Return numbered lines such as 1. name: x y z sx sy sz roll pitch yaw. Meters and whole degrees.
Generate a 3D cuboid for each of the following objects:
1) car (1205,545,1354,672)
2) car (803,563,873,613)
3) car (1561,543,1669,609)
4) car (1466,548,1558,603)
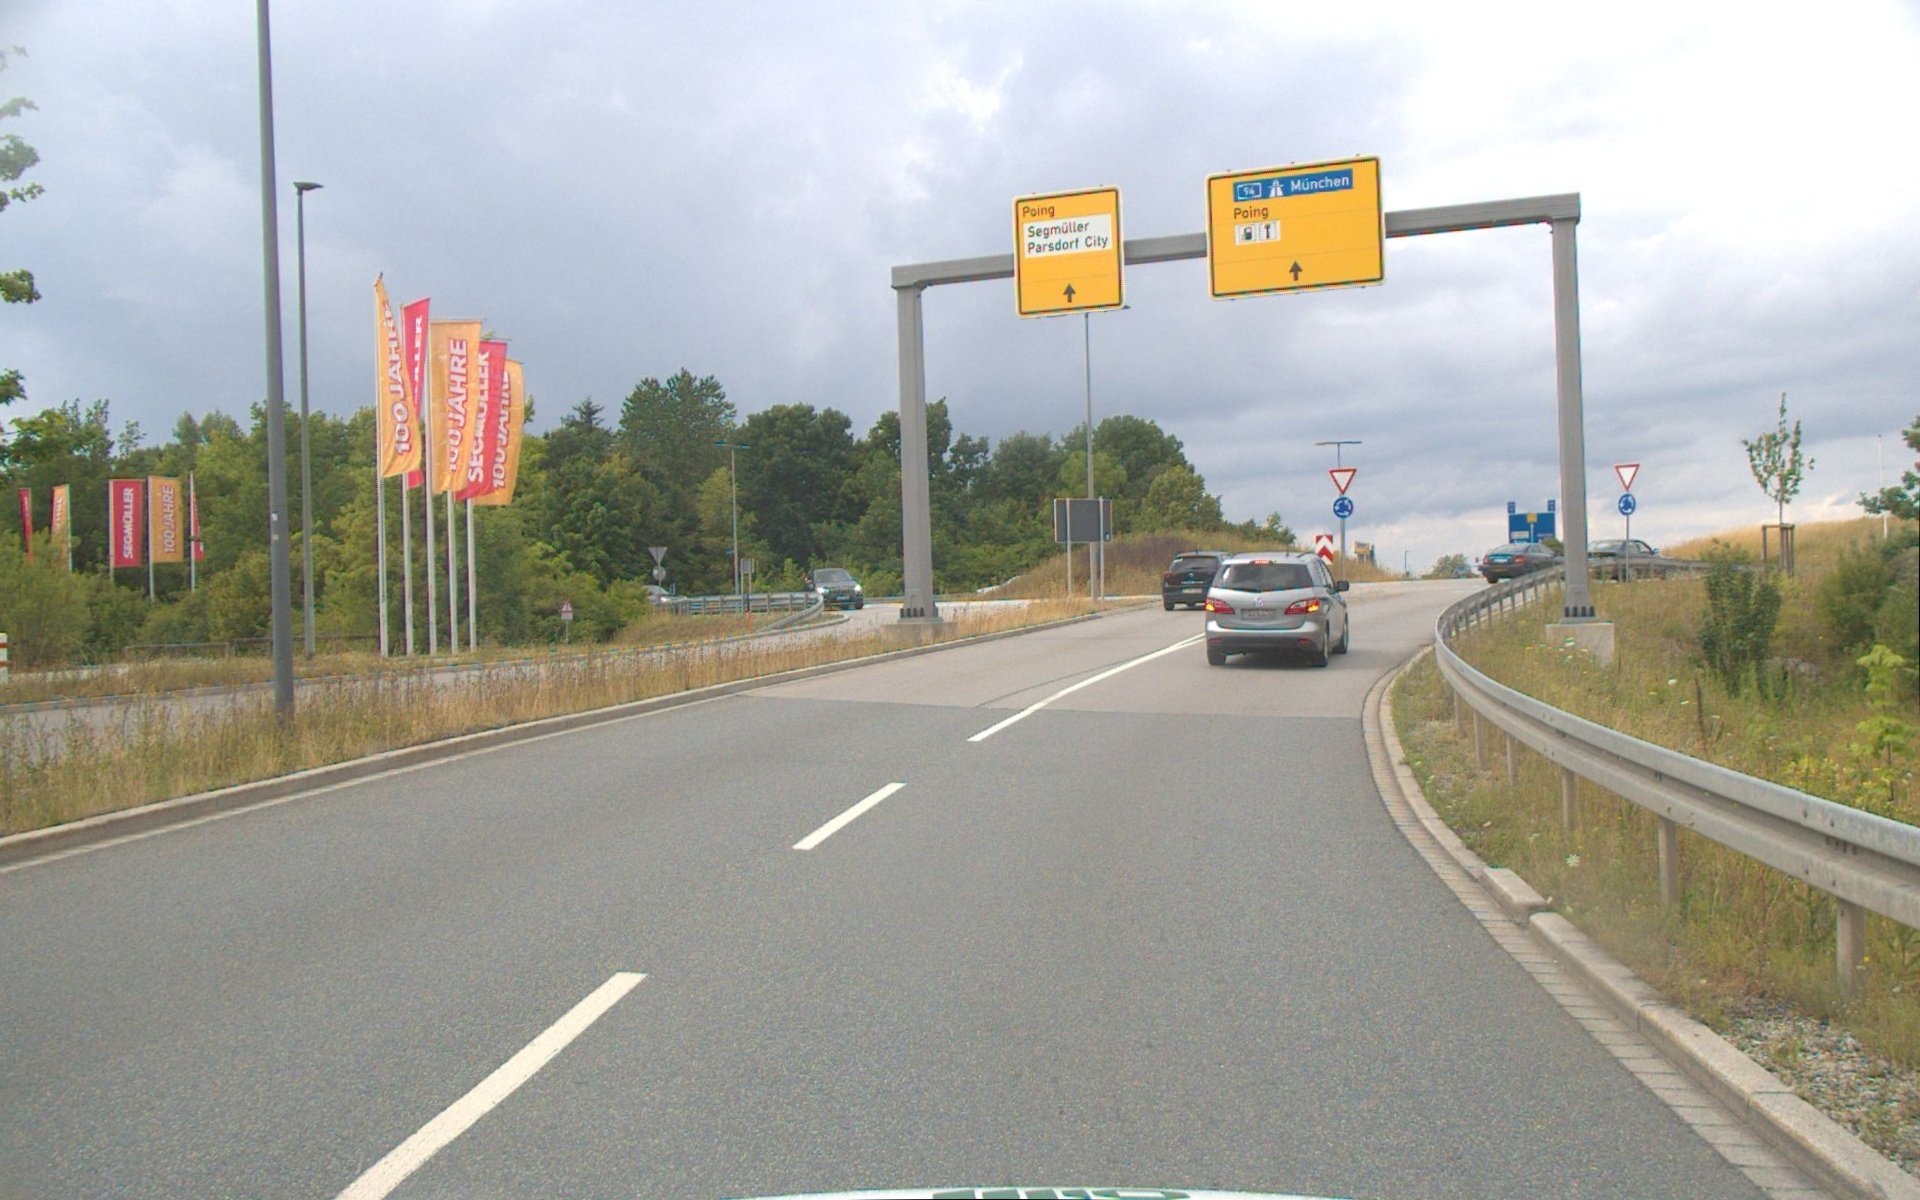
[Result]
1. car: 4.876 0.053 24.857 1.730 1.644 3.925 2 3 17
2. car: -4.668 -0.467 63.011 1.824 1.693 4.146 -5 1 -15
3. car: 20.072 -0.746 50.582 1.631 1.870 3.929 -2 0 45
4. car: 19.864 -0.894 59.415 1.865 1.814 4.139 -2 0 38
